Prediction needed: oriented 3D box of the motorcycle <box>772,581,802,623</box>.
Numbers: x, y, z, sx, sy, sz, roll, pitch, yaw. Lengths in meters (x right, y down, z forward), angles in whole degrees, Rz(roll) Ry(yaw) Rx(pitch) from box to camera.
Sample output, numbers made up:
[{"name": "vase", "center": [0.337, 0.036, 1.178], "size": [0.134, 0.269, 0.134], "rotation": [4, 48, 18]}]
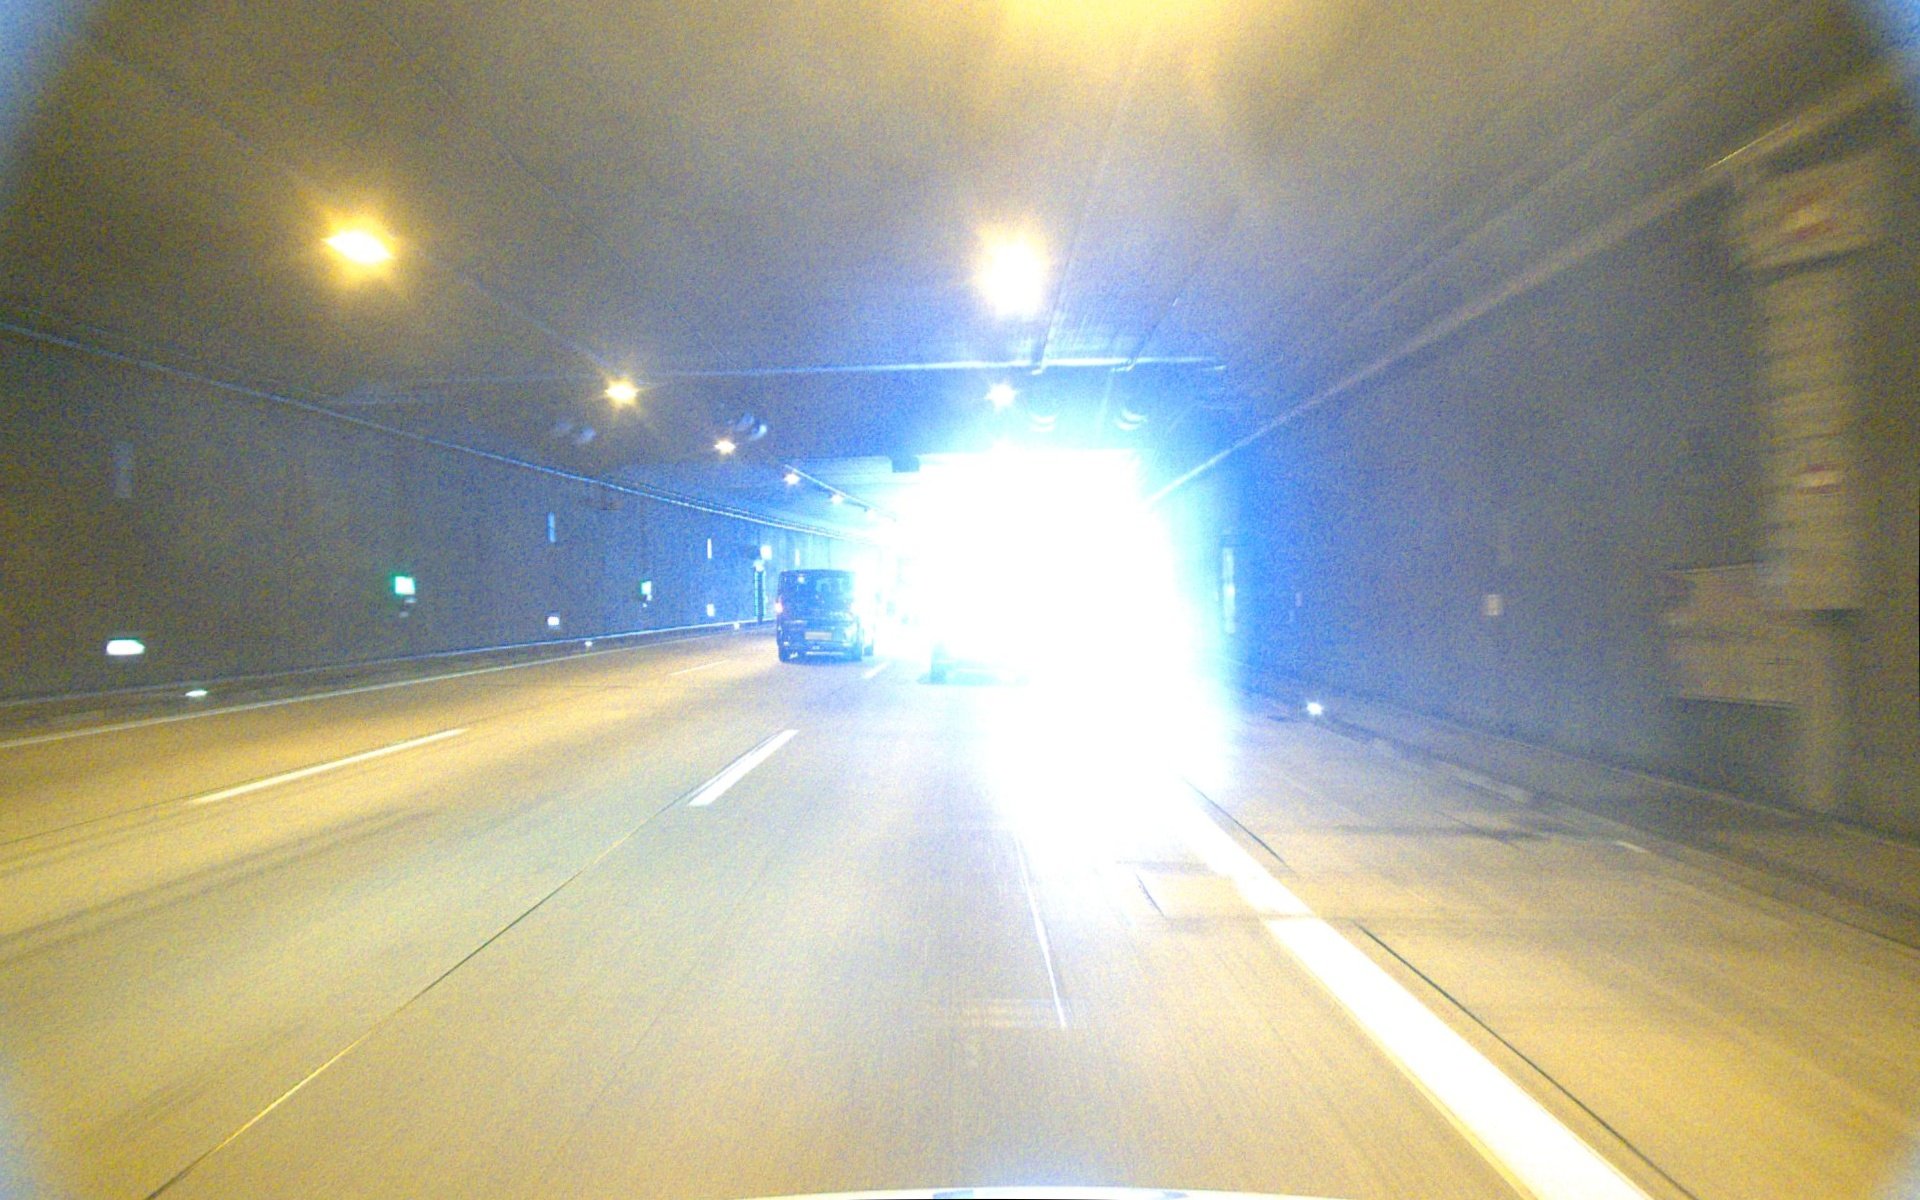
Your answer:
[{"name": "motorcycle", "center": [-5.787, 0.075, 55.418], "size": [0.668, 1.320, 2.399], "rotation": [0, -2, 2]}]

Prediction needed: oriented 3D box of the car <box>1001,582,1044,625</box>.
[{"name": "car", "center": [2.896, 0.188, 76.006], "size": [1.909, 1.803, 4.001], "rotation": [0, -2, 3]}]

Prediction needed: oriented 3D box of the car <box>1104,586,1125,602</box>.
[{"name": "car", "center": [16.385, -0.637, 175.501], "size": [1.889, 1.671, 4.003], "rotation": [1, 0, 9]}]

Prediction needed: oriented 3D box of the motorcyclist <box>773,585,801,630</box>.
[{"name": "motorcyclist", "center": [-5.798, 0.260, 55.387], "size": [0.761, 1.478, 1.069], "rotation": [0, -2, 2]}]

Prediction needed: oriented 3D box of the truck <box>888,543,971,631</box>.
[{"name": "truck", "center": [-1.268, -0.559, 74.514], "size": [2.975, 3.737, 7.397], "rotation": [1, 0, 5]}]

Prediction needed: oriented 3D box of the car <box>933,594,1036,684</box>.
[{"name": "car", "center": [0.487, 0.642, 29.455], "size": [1.706, 1.489, 3.872], "rotation": [0, 0, 2]}]

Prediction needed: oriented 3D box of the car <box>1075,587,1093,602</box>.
[{"name": "car", "center": [15.107, -0.694, 201.371], "size": [1.951, 1.660, 4.003], "rotation": [0, -1, 8]}]

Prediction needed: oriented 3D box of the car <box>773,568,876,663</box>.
[{"name": "car", "center": [-2.948, 0.313, 36.766], "size": [1.870, 1.978, 3.872], "rotation": [0, 0, 1]}]

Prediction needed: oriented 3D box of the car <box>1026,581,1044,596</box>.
[{"name": "car", "center": [8.705, -1.311, 191.918], "size": [1.890, 1.671, 4.003], "rotation": [1, 0, 6]}]

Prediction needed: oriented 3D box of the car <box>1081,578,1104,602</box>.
[{"name": "car", "center": [12.217, -0.883, 151.927], "size": [1.951, 2.049, 4.002], "rotation": [0, -2, 7]}]

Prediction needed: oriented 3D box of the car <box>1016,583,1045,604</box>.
[{"name": "car", "center": [6.126, -0.546, 142.912], "size": [1.951, 1.660, 4.003], "rotation": [0, -1, 11]}]

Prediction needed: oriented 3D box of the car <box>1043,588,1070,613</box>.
[{"name": "car", "center": [7.128, 0.062, 121.963], "size": [1.890, 1.671, 4.000], "rotation": [0, -2, 2]}]

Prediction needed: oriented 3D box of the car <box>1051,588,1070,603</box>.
[{"name": "car", "center": [12.498, -0.545, 206.129], "size": [1.889, 1.671, 4.003], "rotation": [0, -2, 10]}]

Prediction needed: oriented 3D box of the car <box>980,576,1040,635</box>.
[{"name": "car", "center": [1.728, 0.187, 55.881], "size": [1.818, 1.887, 4.002], "rotation": [1, 0, 4]}]
